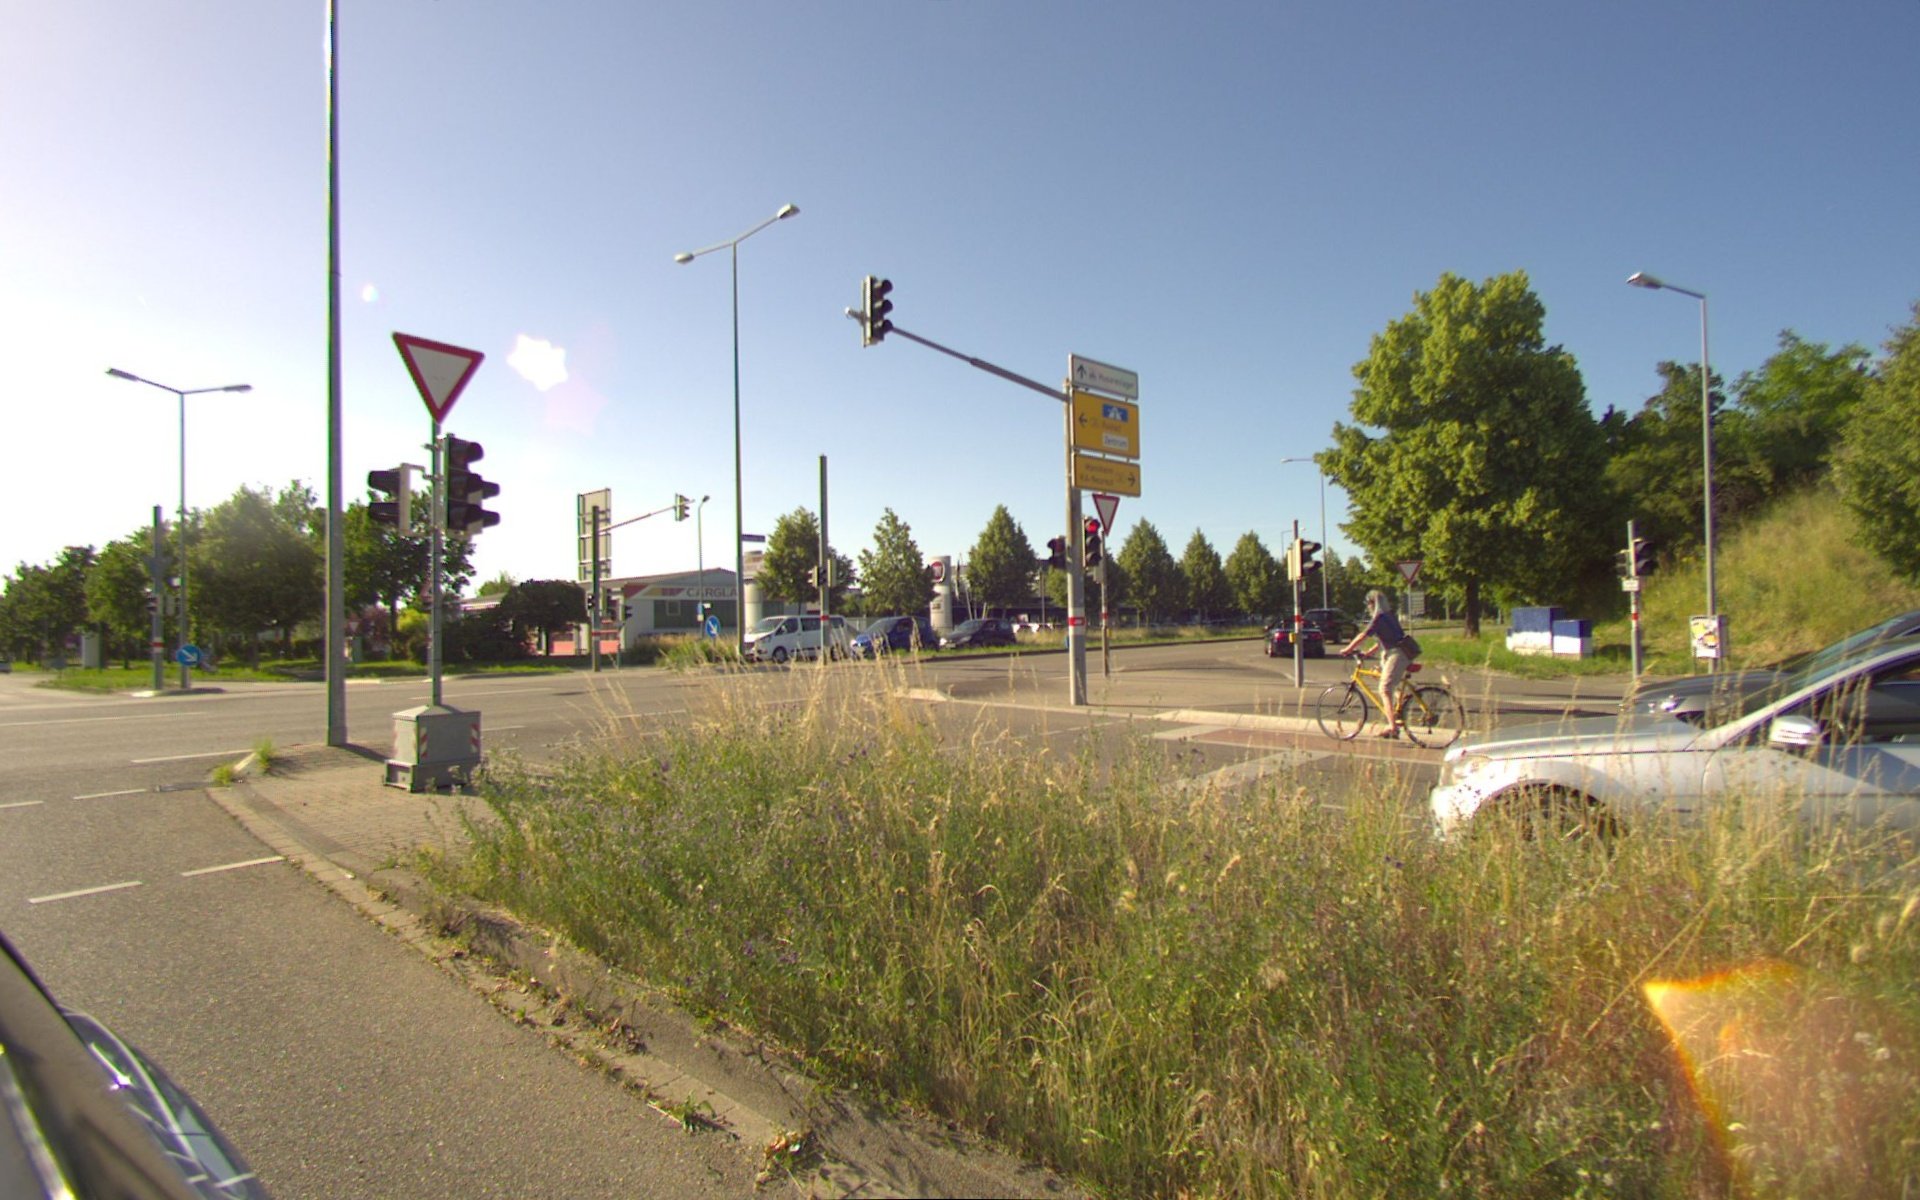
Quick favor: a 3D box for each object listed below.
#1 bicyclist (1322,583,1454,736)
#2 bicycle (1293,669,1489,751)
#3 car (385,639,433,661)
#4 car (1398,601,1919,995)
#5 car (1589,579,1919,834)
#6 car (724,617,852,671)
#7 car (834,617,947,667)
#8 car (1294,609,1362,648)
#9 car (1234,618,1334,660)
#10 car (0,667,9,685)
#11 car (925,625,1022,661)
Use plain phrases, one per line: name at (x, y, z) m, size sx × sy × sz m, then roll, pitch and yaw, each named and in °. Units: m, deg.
bicyclist at (5.067, 0.685, 12.008) m, size 1.241 × 1.715 × 0.736 m, roll -2°, pitch -2°, yaw 41°
bicycle at (5.069, 1.264, 11.986) m, size 1.989 × 0.854 × 0.741 m, roll -3°, pitch -3°, yaw 41°
car at (-58.235, 5.266, 107.014) m, size 1.777 × 2.234 × 4.157 m, roll -4°, pitch -3°, yaw 41°
car at (4.537, 0.765, 4.348) m, size 4.529 × 1.517 × 1.774 m, roll -3°, pitch -3°, yaw 42°
car at (7.215, 0.691, 7.029) m, size 4.529 × 1.656 × 1.972 m, roll -3°, pitch -3°, yaw 42°
car at (-7.042, 1.776, 42.028) m, size 2.045 × 2.029 × 5.208 m, roll -5°, pitch -4°, yaw 37°
car at (-2.475, 1.490, 36.684) m, size 1.890 × 1.657 × 3.988 m, roll -5°, pitch -4°, yaw 38°
car at (17.291, 1.335, 47.483) m, size 1.830 × 1.639 × 3.949 m, roll -3°, pitch -1°, yaw 38°
car at (11.164, 1.322, 35.262) m, size 2.020 × 1.319 × 4.681 m, roll 0°, pitch -1°, yaw 1°
car at (-95.814, 7.492, 98.629) m, size 4.425 × 1.719 × 2.003 m, roll 0°, pitch -3°, yaw -41°
car at (0.594, 1.728, 40.900) m, size 1.890 × 1.284 × 3.988 m, roll -5°, pitch -4°, yaw 38°
